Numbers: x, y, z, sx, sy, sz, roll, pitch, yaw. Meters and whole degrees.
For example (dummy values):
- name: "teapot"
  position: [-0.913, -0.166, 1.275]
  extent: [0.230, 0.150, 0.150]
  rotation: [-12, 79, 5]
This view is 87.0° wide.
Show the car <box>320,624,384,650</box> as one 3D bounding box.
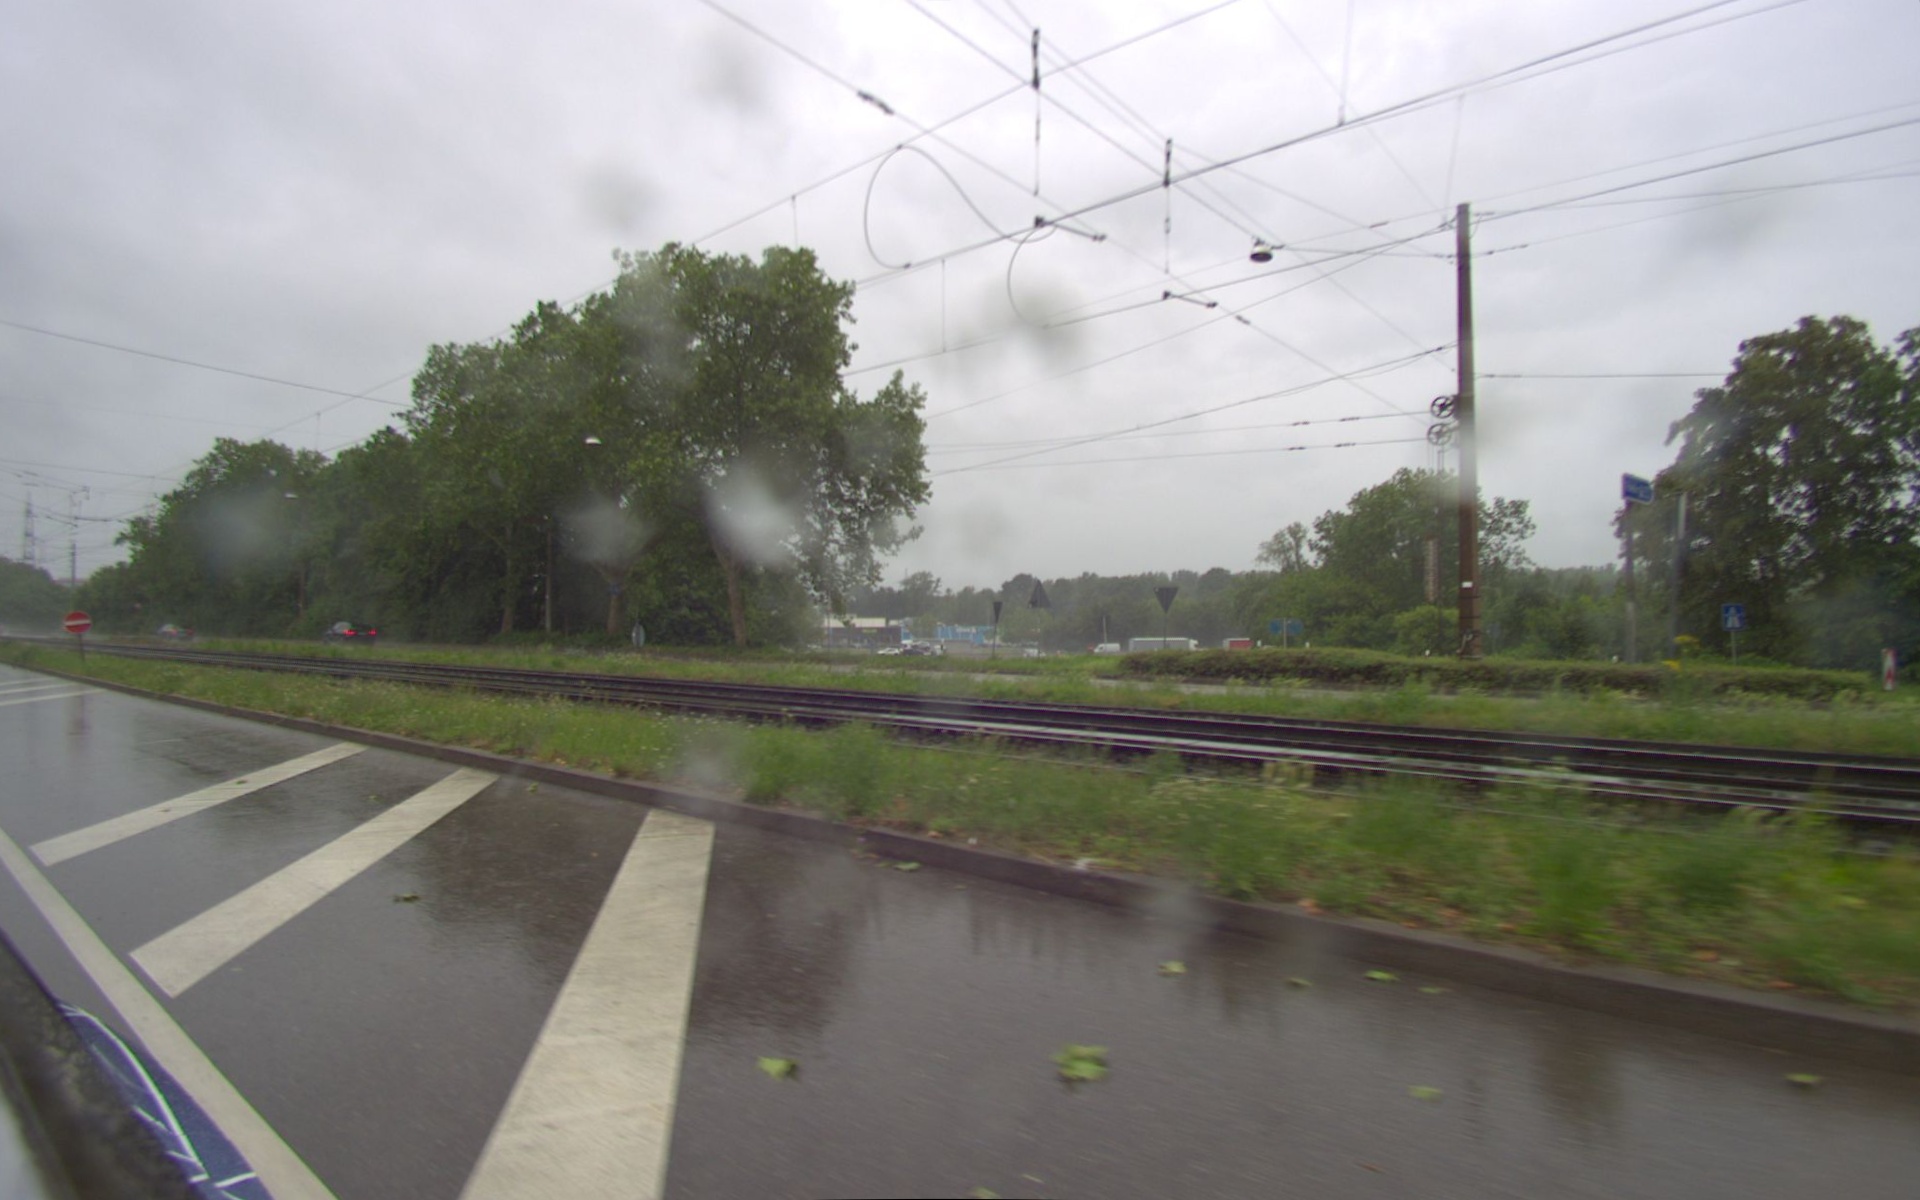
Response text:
- name: "car"
  position: [-37.738, 2.284, 62.781]
  extent: [4.276, 1.540, 2.189]
  rotation: [-1, -1, 41]

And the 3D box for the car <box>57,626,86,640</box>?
- name: "car"
  position: [-91.983, 3.416, 104.748]
  extent: [3.936, 1.417, 1.665]
  rotation: [-1, -1, 40]

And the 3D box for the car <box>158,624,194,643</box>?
- name: "car"
  position: [-66.592, 2.840, 85.927]
  extent: [4.044, 1.580, 1.634]
  rotation: [-1, -1, 40]
